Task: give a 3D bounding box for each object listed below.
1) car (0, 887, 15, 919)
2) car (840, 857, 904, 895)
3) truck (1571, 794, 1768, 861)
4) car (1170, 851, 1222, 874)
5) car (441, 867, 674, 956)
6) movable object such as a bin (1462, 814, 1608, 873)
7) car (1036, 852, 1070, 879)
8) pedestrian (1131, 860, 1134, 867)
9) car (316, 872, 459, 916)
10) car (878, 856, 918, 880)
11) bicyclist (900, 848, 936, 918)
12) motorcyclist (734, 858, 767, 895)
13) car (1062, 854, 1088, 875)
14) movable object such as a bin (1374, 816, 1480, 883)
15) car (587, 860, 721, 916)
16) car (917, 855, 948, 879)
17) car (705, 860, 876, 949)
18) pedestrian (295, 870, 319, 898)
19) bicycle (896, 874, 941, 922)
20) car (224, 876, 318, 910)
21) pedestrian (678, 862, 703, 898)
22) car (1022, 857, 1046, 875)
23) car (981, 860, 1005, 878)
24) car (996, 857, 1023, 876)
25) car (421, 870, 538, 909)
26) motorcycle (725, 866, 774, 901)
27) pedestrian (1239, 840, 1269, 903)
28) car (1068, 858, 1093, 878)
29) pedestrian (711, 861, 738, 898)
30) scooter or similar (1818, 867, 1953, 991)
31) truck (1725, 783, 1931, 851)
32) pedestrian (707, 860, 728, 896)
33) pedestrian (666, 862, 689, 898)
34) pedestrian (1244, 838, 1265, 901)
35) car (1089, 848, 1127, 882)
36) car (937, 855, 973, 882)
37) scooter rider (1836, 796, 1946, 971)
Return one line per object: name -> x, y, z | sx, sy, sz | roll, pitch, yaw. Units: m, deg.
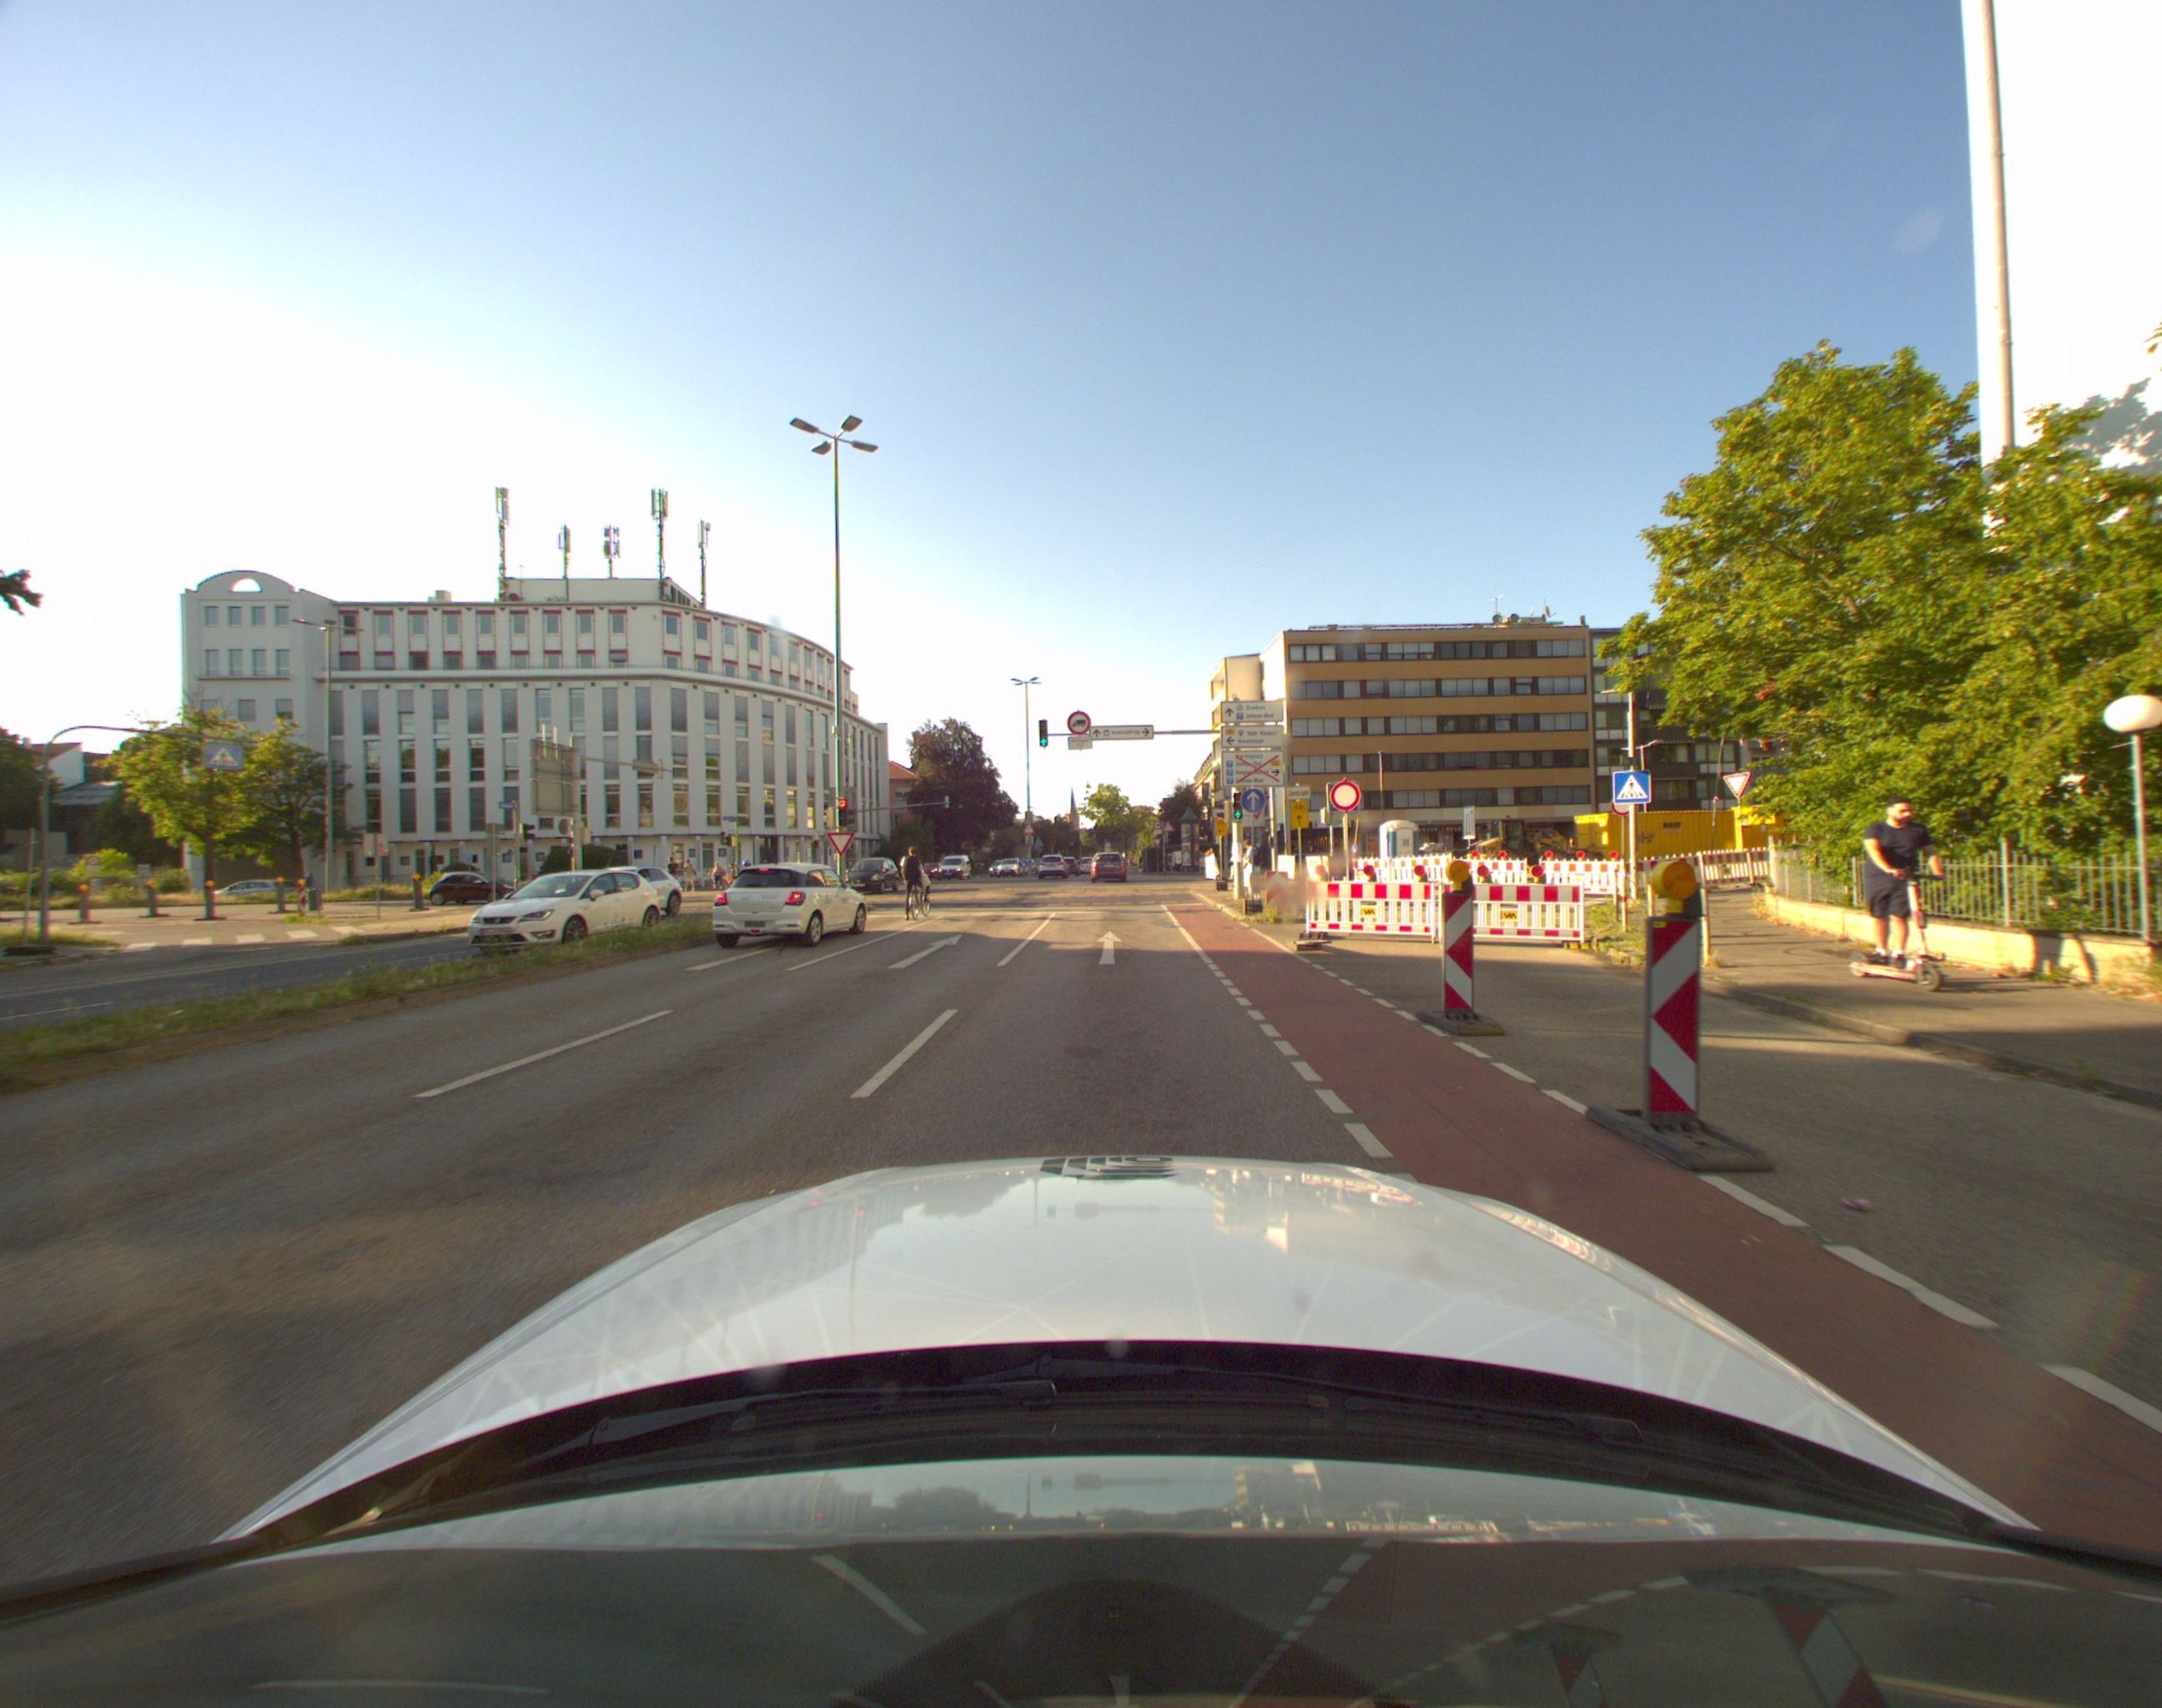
car -> -48.283, 2.172, 34.273 | 3.985, 1.354, 1.823 | -2, 0, -9
car -> -9.056, 0.917, 35.583 | 1.652, 1.494, 4.000 | -2, 0, 1
truck -> 27.662, -1.201, 38.508 | 7.312, 2.898, 2.806 | -2, 0, -2
car -> 10.312, 0.748, 73.313 | 4.349, 1.877, 2.000 | -2, -1, 0
car -> -9.851, 1.002, 15.794 | 1.678, 1.392, 4.182 | -2, 0, 2
movable object such as a bin -> 21.075, -0.474, 38.007 | 5.333, 2.490, 2.547 | -2, -1, -1
car -> -1.726, 0.704, 51.593 | 1.741, 1.564, 4.052 | -2, 0, 3
pedestrian -> 12.131, 2.209, 192.103 | 0.763, 1.684, 0.999 | -2, -1, 1
car -> -28.382, 1.612, 33.419 | 4.323, 1.629, 2.003 | -2, -1, 6
car -> -12.554, 0.931, 56.063 | 1.652, 1.494, 4.347 | -2, 0, 1
bicyclist -> -4.135, 0.721, 20.675 | 0.689, 1.728, 0.987 | -2, -1, -1
motorcyclist -> -13.079, 0.879, 32.225 | 0.767, 1.419, 1.238 | -1, -1, 0
car -> -0.432, 0.824, 63.854 | 1.741, 1.564, 4.052 | -2, 0, 3
movable object such as a bin -> 13.147, -0.166, 31.061 | 3.316, 2.383, 1.529 | -2, -1, 1
car -> -13.015, 0.978, 25.149 | 1.679, 1.498, 4.514 | -2, 0, 1
car -> -12.030, 1.013, 66.249 | 1.743, 1.811, 4.048 | -2, 0, -1
car -> -5.421, 0.875, 15.773 | 1.678, 1.457, 4.003 | -1, 0, 3
pedestrian -> -50.576, 1.978, 53.203 | 0.913, 1.792, 0.671 | -1, 0, -16
bicycle -> -4.121, 1.085, 20.798 | 0.697, 1.100, 2.257 | -2, 0, -1
car -> -49.190, 2.355, 49.568 | 3.893, 1.736, 1.752 | -1, -8, -40
pedestrian -> -20.490, 1.367, 42.717 | 0.751, 1.842, 0.823 | -2, -1, 24
car -> -4.100, 1.030, 71.568 | 1.842, 1.461, 4.048 | -2, 0, -1
car -> -8.613, 1.459, 79.871 | 1.874, 1.654, 4.048 | -2, 0, -1
car -> -5.723, 1.003, 65.516 | 1.842, 1.461, 4.048 | -2, 0, -1
car -> -26.810, 1.584, 36.401 | 3.798, 1.530, 1.862 | -3, -2, -2
motorcycle -> -13.083, 1.145, 32.243 | 0.767, 1.284, 2.842 | -1, 0, 0
pedestrian -> 5.037, 0.509, 23.684 | 0.735, 1.799, 0.718 | -2, -1, 16
car -> -0.010, 1.214, 69.972 | 1.986, 1.508, 4.000 | -3, -2, 1
pedestrian -> -18.629, 1.323, 42.556 | 0.620, 1.868, 1.134 | -2, -1, 30
scooter or similar -> 8.441, 0.747, 8.596 | 0.328, 1.194, 1.254 | -2, -1, 10
truck -> 35.604, -1.725, 39.011 | 7.310, 2.898, 2.807 | -2, 0, -1
pedestrian -> -19.300, 1.283, 43.253 | 0.654, 1.868, 0.782 | -2, -1, 21
pedestrian -> -21.267, 1.363, 42.915 | 0.653, 1.859, 0.783 | -2, -1, 31
pedestrian -> 5.196, 0.468, 24.456 | 0.518, 1.868, 0.616 | -2, -1, 7
car -> 1.387, 0.535, 40.298 | 1.741, 1.564, 4.052 | -2, 0, 3
car -> -9.229, 1.046, 59.835 | 1.909, 1.811, 4.716 | -2, 0, -1
scooter rider -> 8.528, 0.306, 8.597 | 0.611, 1.790, 0.488 | -2, -1, 8
